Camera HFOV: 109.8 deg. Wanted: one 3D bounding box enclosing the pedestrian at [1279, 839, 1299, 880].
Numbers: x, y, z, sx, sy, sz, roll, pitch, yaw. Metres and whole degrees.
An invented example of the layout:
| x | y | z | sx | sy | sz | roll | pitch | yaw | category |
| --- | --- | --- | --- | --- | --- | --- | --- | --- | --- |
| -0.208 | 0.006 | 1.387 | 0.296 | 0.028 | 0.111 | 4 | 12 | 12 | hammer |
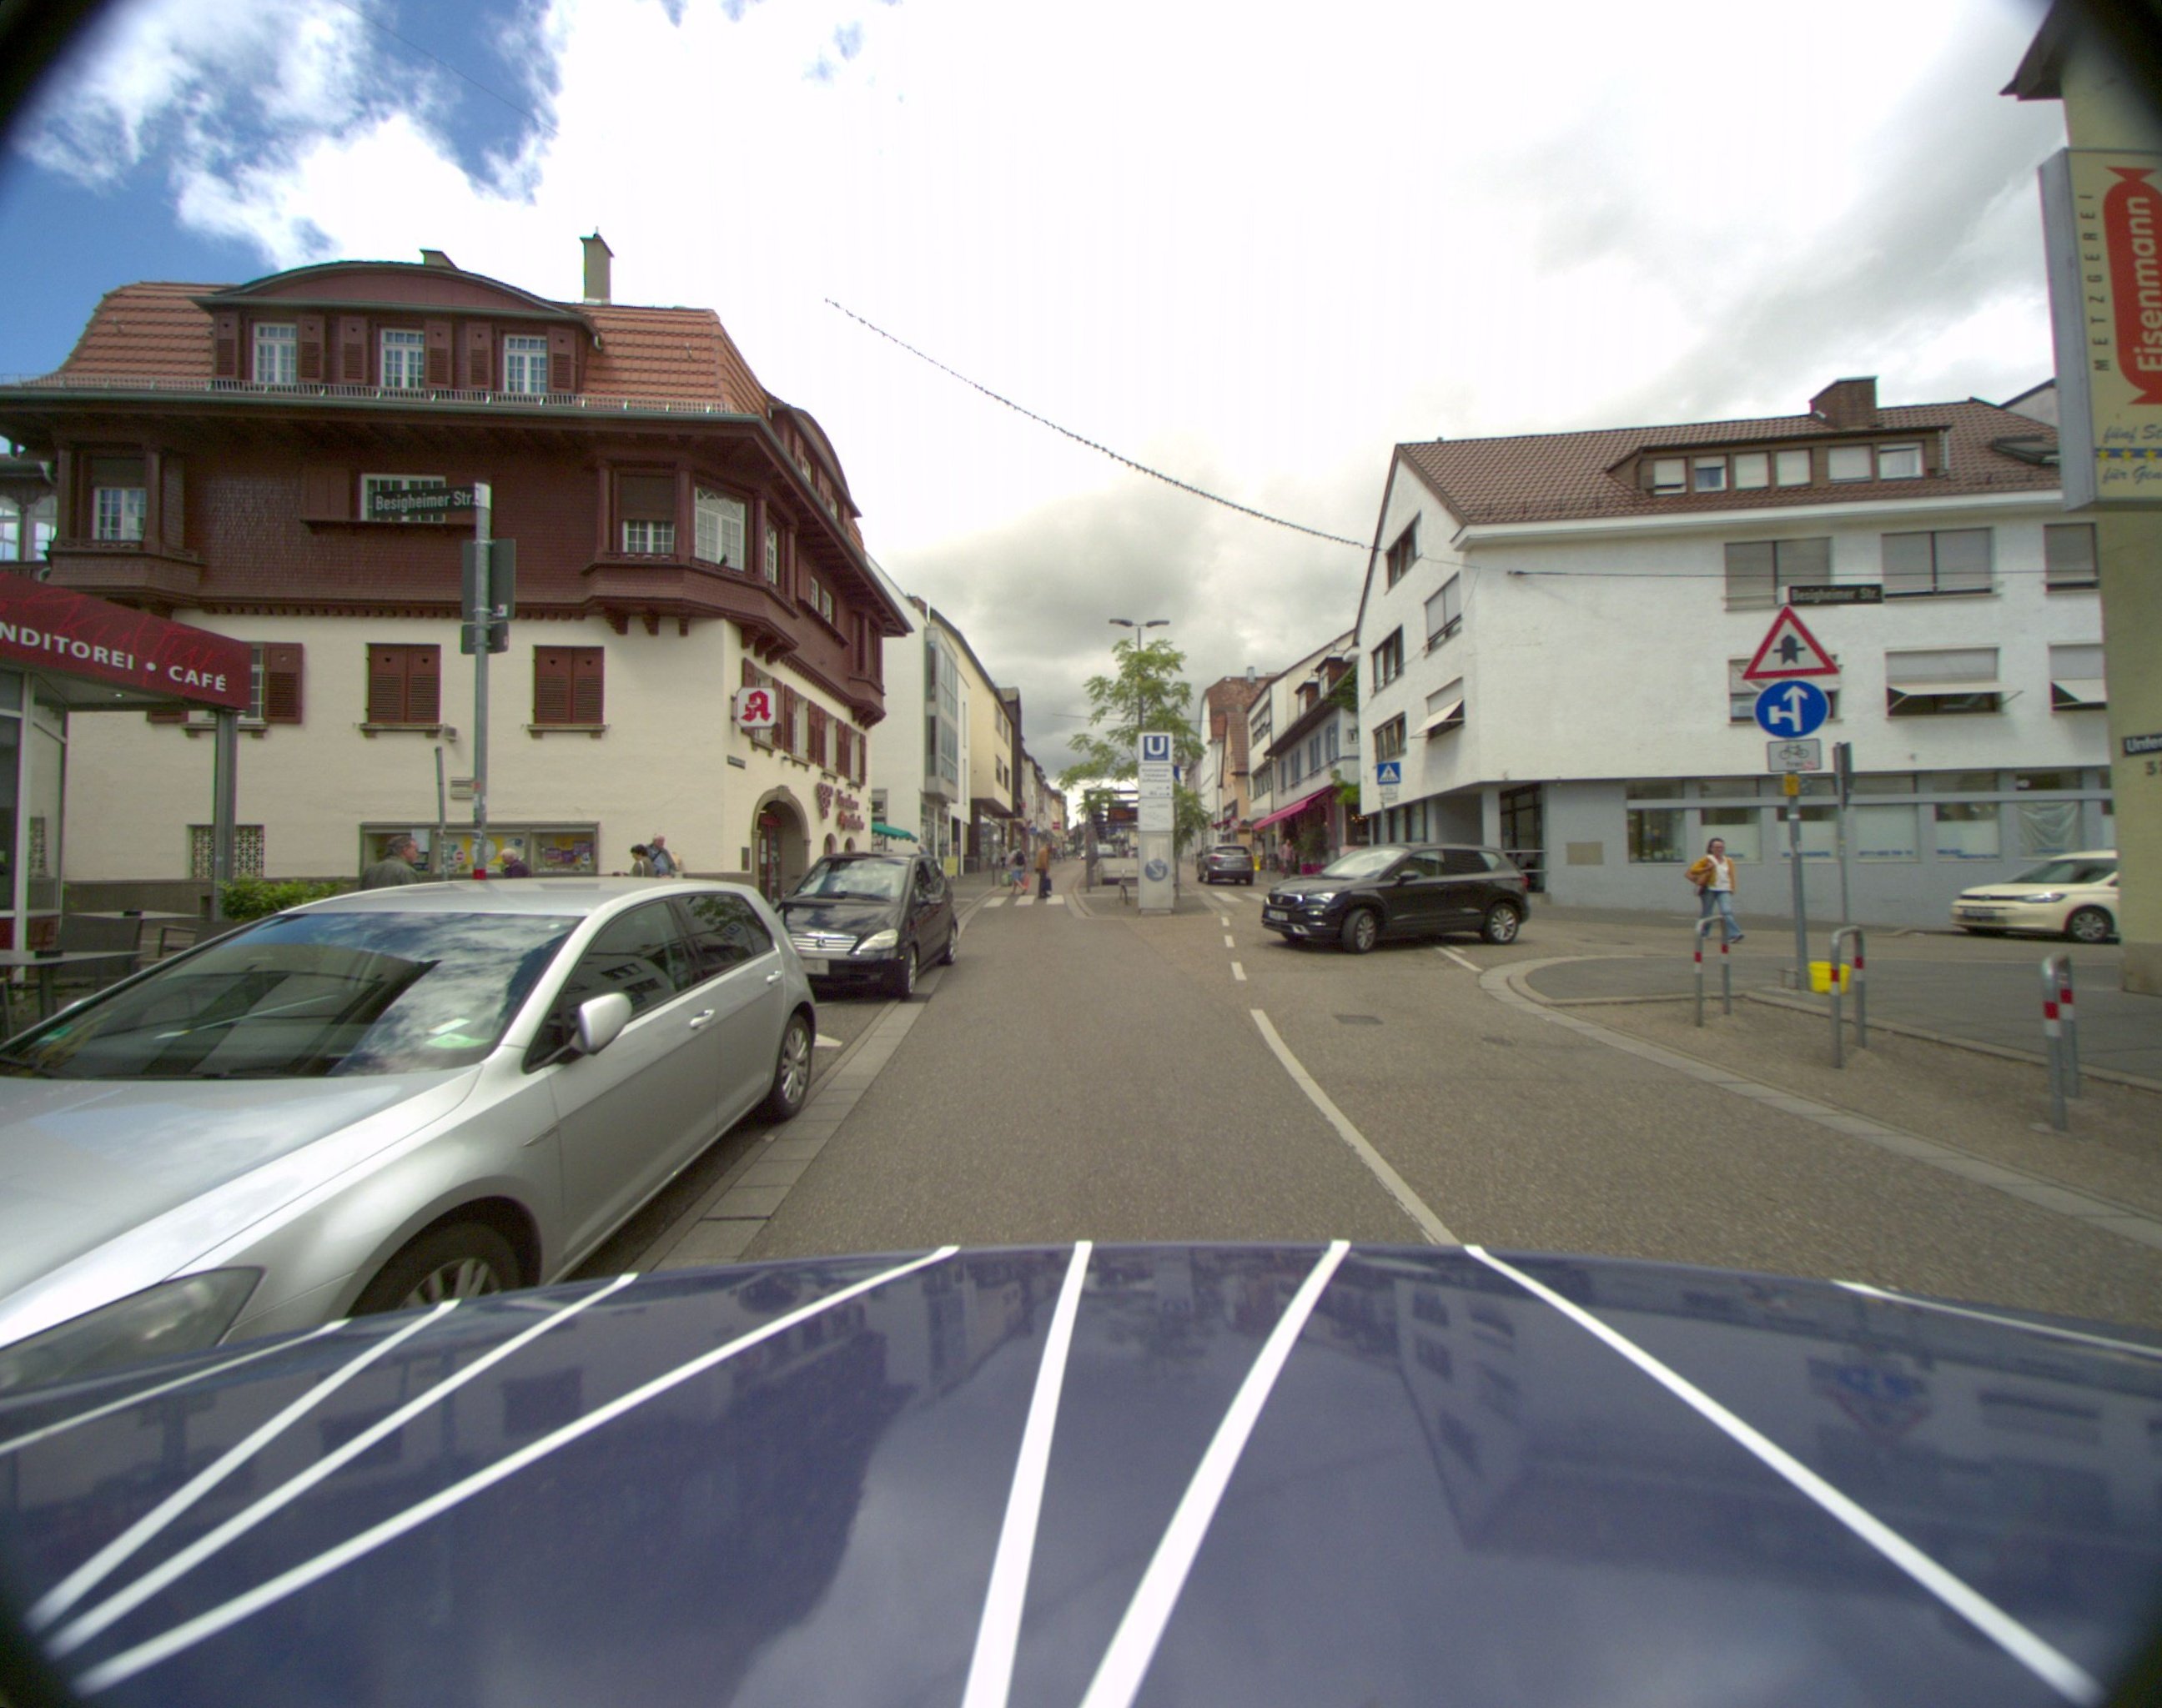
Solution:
| x | y | z | sx | sy | sz | roll | pitch | yaw | category |
| --- | --- | --- | --- | --- | --- | --- | --- | --- | --- |
| 8.881 | 0.231 | 32.471 | 0.696 | 1.730 | 0.825 | -1 | 1 | 3 | pedestrian |

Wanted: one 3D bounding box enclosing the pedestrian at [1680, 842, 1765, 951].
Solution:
| x | y | z | sx | sy | sz | roll | pitch | yaw | category |
| --- | --- | --- | --- | --- | --- | --- | --- | --- | --- |
| 10.544 | 0.675 | 12.518 | 0.638 | 1.728 | 0.835 | 0 | 1 | -1 | pedestrian |

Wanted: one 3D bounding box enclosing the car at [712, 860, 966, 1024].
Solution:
| x | y | z | sx | sy | sz | roll | pitch | yaw | category |
| --- | --- | --- | --- | --- | --- | --- | --- | --- | --- |
| -2.703 | 0.894 | 9.506 | 1.807 | 1.546 | 3.953 | 0 | 1 | 1 | car |

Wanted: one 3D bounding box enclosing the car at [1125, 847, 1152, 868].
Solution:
| x | y | z | sx | sy | sz | roll | pitch | yaw | category |
| --- | --- | --- | --- | --- | --- | --- | --- | --- | --- |
| 4.673 | 0.259 | 62.348 | 1.998 | 1.580 | 4.494 | -2 | 1 | 2 | car |

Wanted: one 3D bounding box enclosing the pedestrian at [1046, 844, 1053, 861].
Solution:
| x | y | z | sx | sy | sz | roll | pitch | yaw | category |
| --- | --- | --- | --- | --- | --- | --- | --- | --- | --- |
| -3.215 | -0.171 | 77.273 | 0.663 | 1.697 | 0.780 | -1 | 1 | -1 | pedestrian |

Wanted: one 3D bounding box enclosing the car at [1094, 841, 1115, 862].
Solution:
| x | y | z | sx | sy | sz | roll | pitch | yaw | category |
| --- | --- | --- | --- | --- | --- | --- | --- | --- | --- |
| 1.869 | -0.205 | 60.833 | 1.576 | 1.600 | 3.533 | -2 | 1 | 2 | car |

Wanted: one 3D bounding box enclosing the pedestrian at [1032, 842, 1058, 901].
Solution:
| x | y | z | sx | sy | sz | roll | pitch | yaw | category |
| --- | --- | --- | --- | --- | --- | --- | --- | --- | --- |
| -1.128 | 0.523 | 23.721 | 0.676 | 1.791 | 0.787 | -1 | 1 | -12 | pedestrian |

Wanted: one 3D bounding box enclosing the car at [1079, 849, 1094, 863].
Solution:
| x | y | z | sx | sy | sz | roll | pitch | yaw | category |
| --- | --- | --- | --- | --- | --- | --- | --- | --- | --- |
| 0.844 | 0.276 | 114.020 | 1.998 | 2.002 | 4.000 | -1 | 1 | 2 | car |

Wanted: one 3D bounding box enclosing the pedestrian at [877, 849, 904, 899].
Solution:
| x | y | z | sx | sy | sz | roll | pitch | yaw | category |
| --- | --- | --- | --- | --- | --- | --- | --- | --- | --- |
| -6.251 | 0.654 | 24.997 | 0.625 | 1.603 | 0.703 | -1 | 1 | 6 | pedestrian |

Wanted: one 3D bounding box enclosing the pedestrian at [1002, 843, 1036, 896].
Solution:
| x | y | z | sx | sy | sz | roll | pitch | yaw | category |
| --- | --- | --- | --- | --- | --- | --- | --- | --- | --- |
| -2.119 | 0.510 | 25.935 | 0.918 | 1.777 | 0.988 | -1 | 1 | 9 | pedestrian |

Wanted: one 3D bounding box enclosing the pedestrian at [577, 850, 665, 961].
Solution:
| x | y | z | sx | sy | sz | roll | pitch | yaw | category |
| --- | --- | --- | --- | --- | --- | --- | --- | --- | --- |
| -7.110 | 0.763 | 11.776 | 0.774 | 1.636 | 0.870 | 0 | 1 | 7 | pedestrian |

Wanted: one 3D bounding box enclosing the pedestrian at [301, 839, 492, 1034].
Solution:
| x | y | z | sx | sy | sz | roll | pitch | yaw | category |
| --- | --- | --- | --- | --- | --- | --- | --- | --- | --- |
| -6.361 | 0.721 | 7.120 | 0.865 | 1.697 | 0.945 | -1 | 1 | 7 | pedestrian |

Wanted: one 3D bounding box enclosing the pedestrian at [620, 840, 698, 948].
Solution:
| x | y | z | sx | sy | sz | roll | pitch | yaw | category |
| --- | --- | --- | --- | --- | --- | --- | --- | --- | --- |
| -7.128 | 0.653 | 12.869 | 0.776 | 1.759 | 0.817 | -1 | 1 | 2 | pedestrian |

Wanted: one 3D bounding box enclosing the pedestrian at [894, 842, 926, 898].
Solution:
| x | y | z | sx | sy | sz | roll | pitch | yaw | category |
| --- | --- | --- | --- | --- | --- | --- | --- | --- | --- |
| -5.731 | 0.528 | 25.412 | 0.778 | 1.846 | 0.704 | 0 | 2 | 44 | pedestrian |

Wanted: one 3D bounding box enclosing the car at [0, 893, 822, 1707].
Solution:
| x | y | z | sx | sy | sz | roll | pitch | yaw | category |
| --- | --- | --- | --- | --- | --- | --- | --- | --- | --- |
| -2.489 | 1.010 | 2.904 | 1.707 | 1.459 | 3.999 | 0 | 1 | -2 | car |

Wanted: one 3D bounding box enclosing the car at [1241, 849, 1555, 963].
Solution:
| x | y | z | sx | sy | sz | roll | pitch | yaw | category |
| --- | --- | --- | --- | --- | --- | --- | --- | --- | --- |
| 4.959 | 0.704 | 12.024 | 4.375 | 1.560 | 1.912 | 0 | 1 | -18 | car |

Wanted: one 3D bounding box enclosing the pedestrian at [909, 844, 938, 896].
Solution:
| x | y | z | sx | sy | sz | roll | pitch | yaw | category |
| --- | --- | --- | --- | --- | --- | --- | --- | --- | --- |
| -5.455 | 0.551 | 26.346 | 0.701 | 1.757 | 0.626 | 0 | 1 | 27 | pedestrian |

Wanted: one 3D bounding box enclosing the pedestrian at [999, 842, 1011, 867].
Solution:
| x | y | z | sx | sy | sz | roll | pitch | yaw | category |
| --- | --- | --- | --- | --- | --- | --- | --- | --- | --- |
| -5.190 | 0.040 | 51.952 | 0.759 | 1.664 | 0.780 | 2 | 1 | -1 | pedestrian |

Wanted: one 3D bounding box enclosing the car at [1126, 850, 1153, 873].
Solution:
| x | y | z | sx | sy | sz | roll | pitch | yaw | category |
| --- | --- | --- | --- | --- | --- | --- | --- | --- | --- |
| 4.207 | 0.492 | 55.294 | 1.703 | 1.539 | 3.898 | -2 | 1 | 2 | car |

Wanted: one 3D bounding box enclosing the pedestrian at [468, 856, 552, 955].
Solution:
| x | y | z | sx | sy | sz | roll | pitch | yaw | category |
| --- | --- | --- | --- | --- | --- | --- | --- | --- | --- |
| -9.251 | 0.814 | 12.337 | 0.725 | 1.522 | 0.808 | 2 | 2 | 7 | pedestrian |

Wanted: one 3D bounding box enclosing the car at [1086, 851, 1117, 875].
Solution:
| x | y | z | sx | sy | sz | roll | pitch | yaw | category |
| --- | --- | --- | --- | --- | --- | --- | --- | --- | --- |
| 1.428 | 0.586 | 54.878 | 1.999 | 1.557 | 4.430 | -2 | 1 | 0 | car |

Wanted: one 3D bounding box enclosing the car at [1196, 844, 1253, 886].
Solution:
| x | y | z | sx | sy | sz | roll | pitch | yaw | category |
| --- | --- | --- | --- | --- | --- | --- | --- | --- | --- |
| 5.825 | 0.401 | 31.297 | 1.967 | 1.612 | 4.356 | 0 | 1 | 6 | car |

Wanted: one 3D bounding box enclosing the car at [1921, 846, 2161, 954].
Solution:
| x | y | z | sx | sy | sz | roll | pitch | yaw | category |
| --- | --- | --- | --- | --- | --- | --- | --- | --- | --- |
| 19.209 | 0.817 | 14.027 | 4.832 | 1.809 | 1.868 | 2 | 2 | 7 | car |

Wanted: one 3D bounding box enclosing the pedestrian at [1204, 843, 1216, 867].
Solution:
| x | y | z | sx | sy | sz | roll | pitch | yaw | category |
| --- | --- | --- | --- | --- | --- | --- | --- | --- | --- |
| 9.200 | 0.049 | 54.135 | 0.748 | 1.704 | 0.664 | -1 | 1 | 2 | pedestrian |
